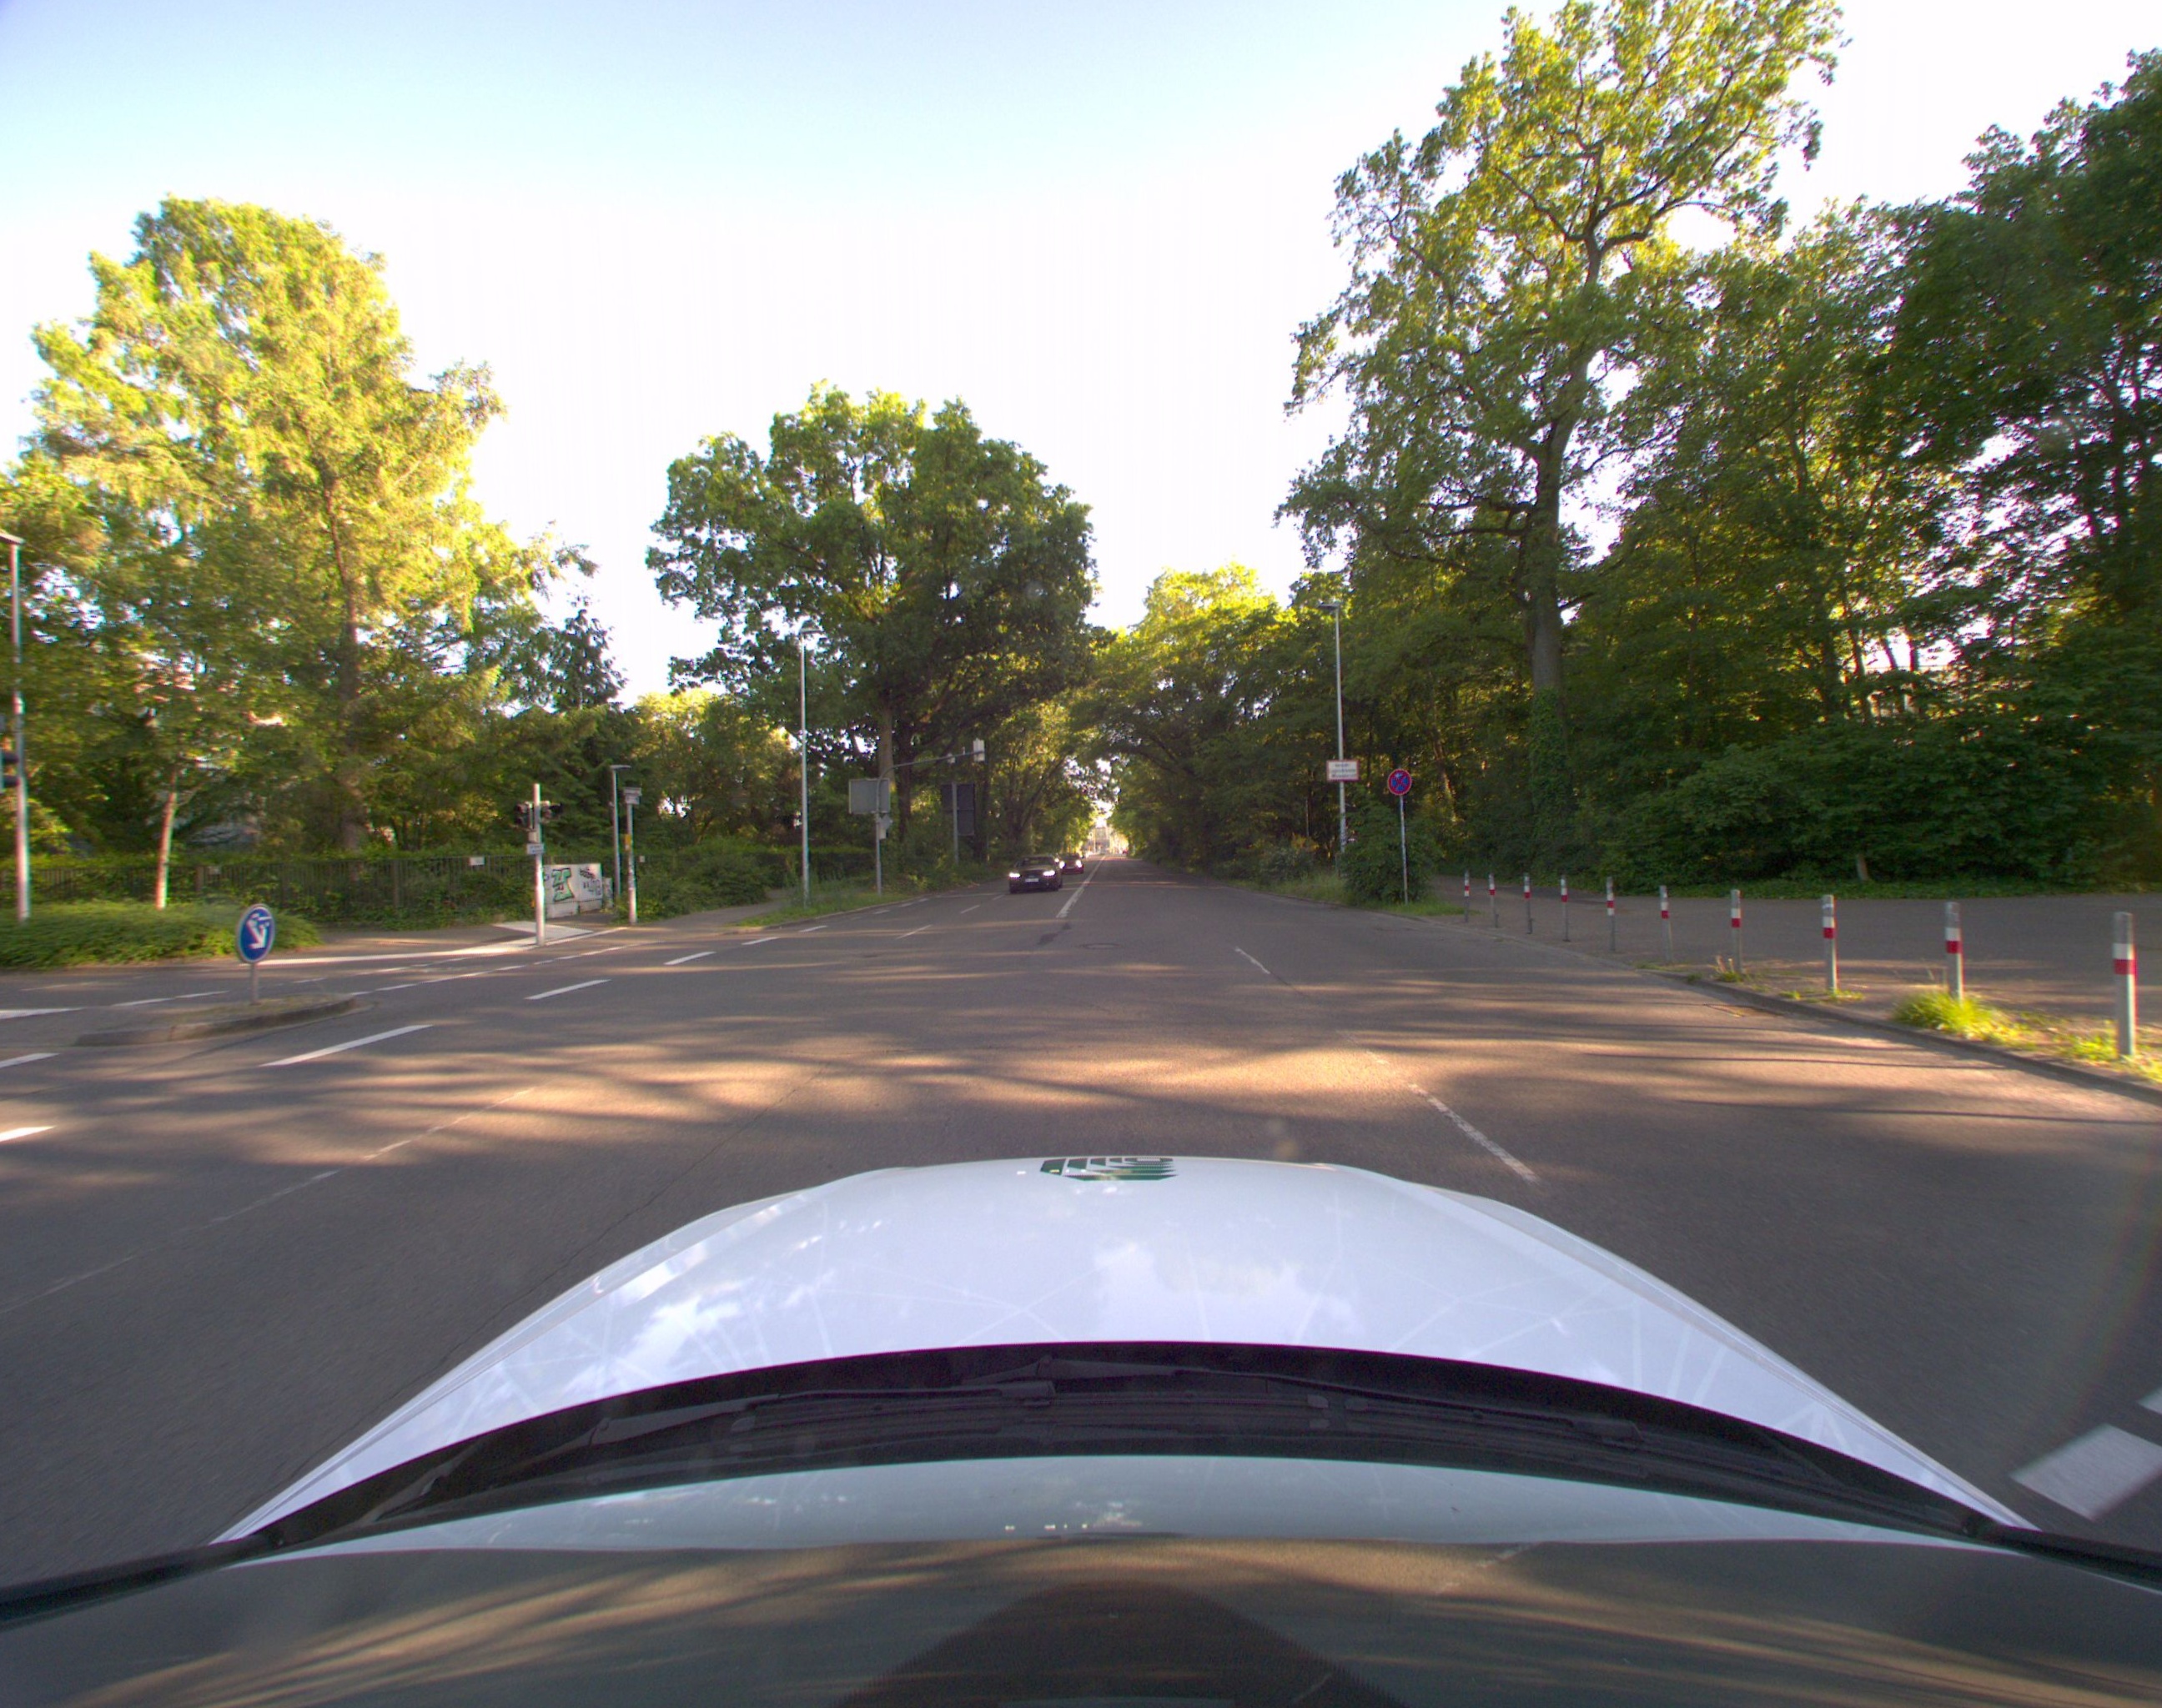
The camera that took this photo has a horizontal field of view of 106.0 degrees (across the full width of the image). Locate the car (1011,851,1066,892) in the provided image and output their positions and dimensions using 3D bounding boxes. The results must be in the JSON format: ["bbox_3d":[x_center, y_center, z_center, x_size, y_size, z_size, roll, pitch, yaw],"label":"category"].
[{"bbox_3d":[-1.650,0.667,33.361,1.881,1.506,4.365,-2,0,1],"label":"car"}]

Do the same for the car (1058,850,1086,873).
[{"bbox_3d":[-0.575,0.533,57.852,1.791,1.506,4.365,-2,0,1],"label":"car"}]
